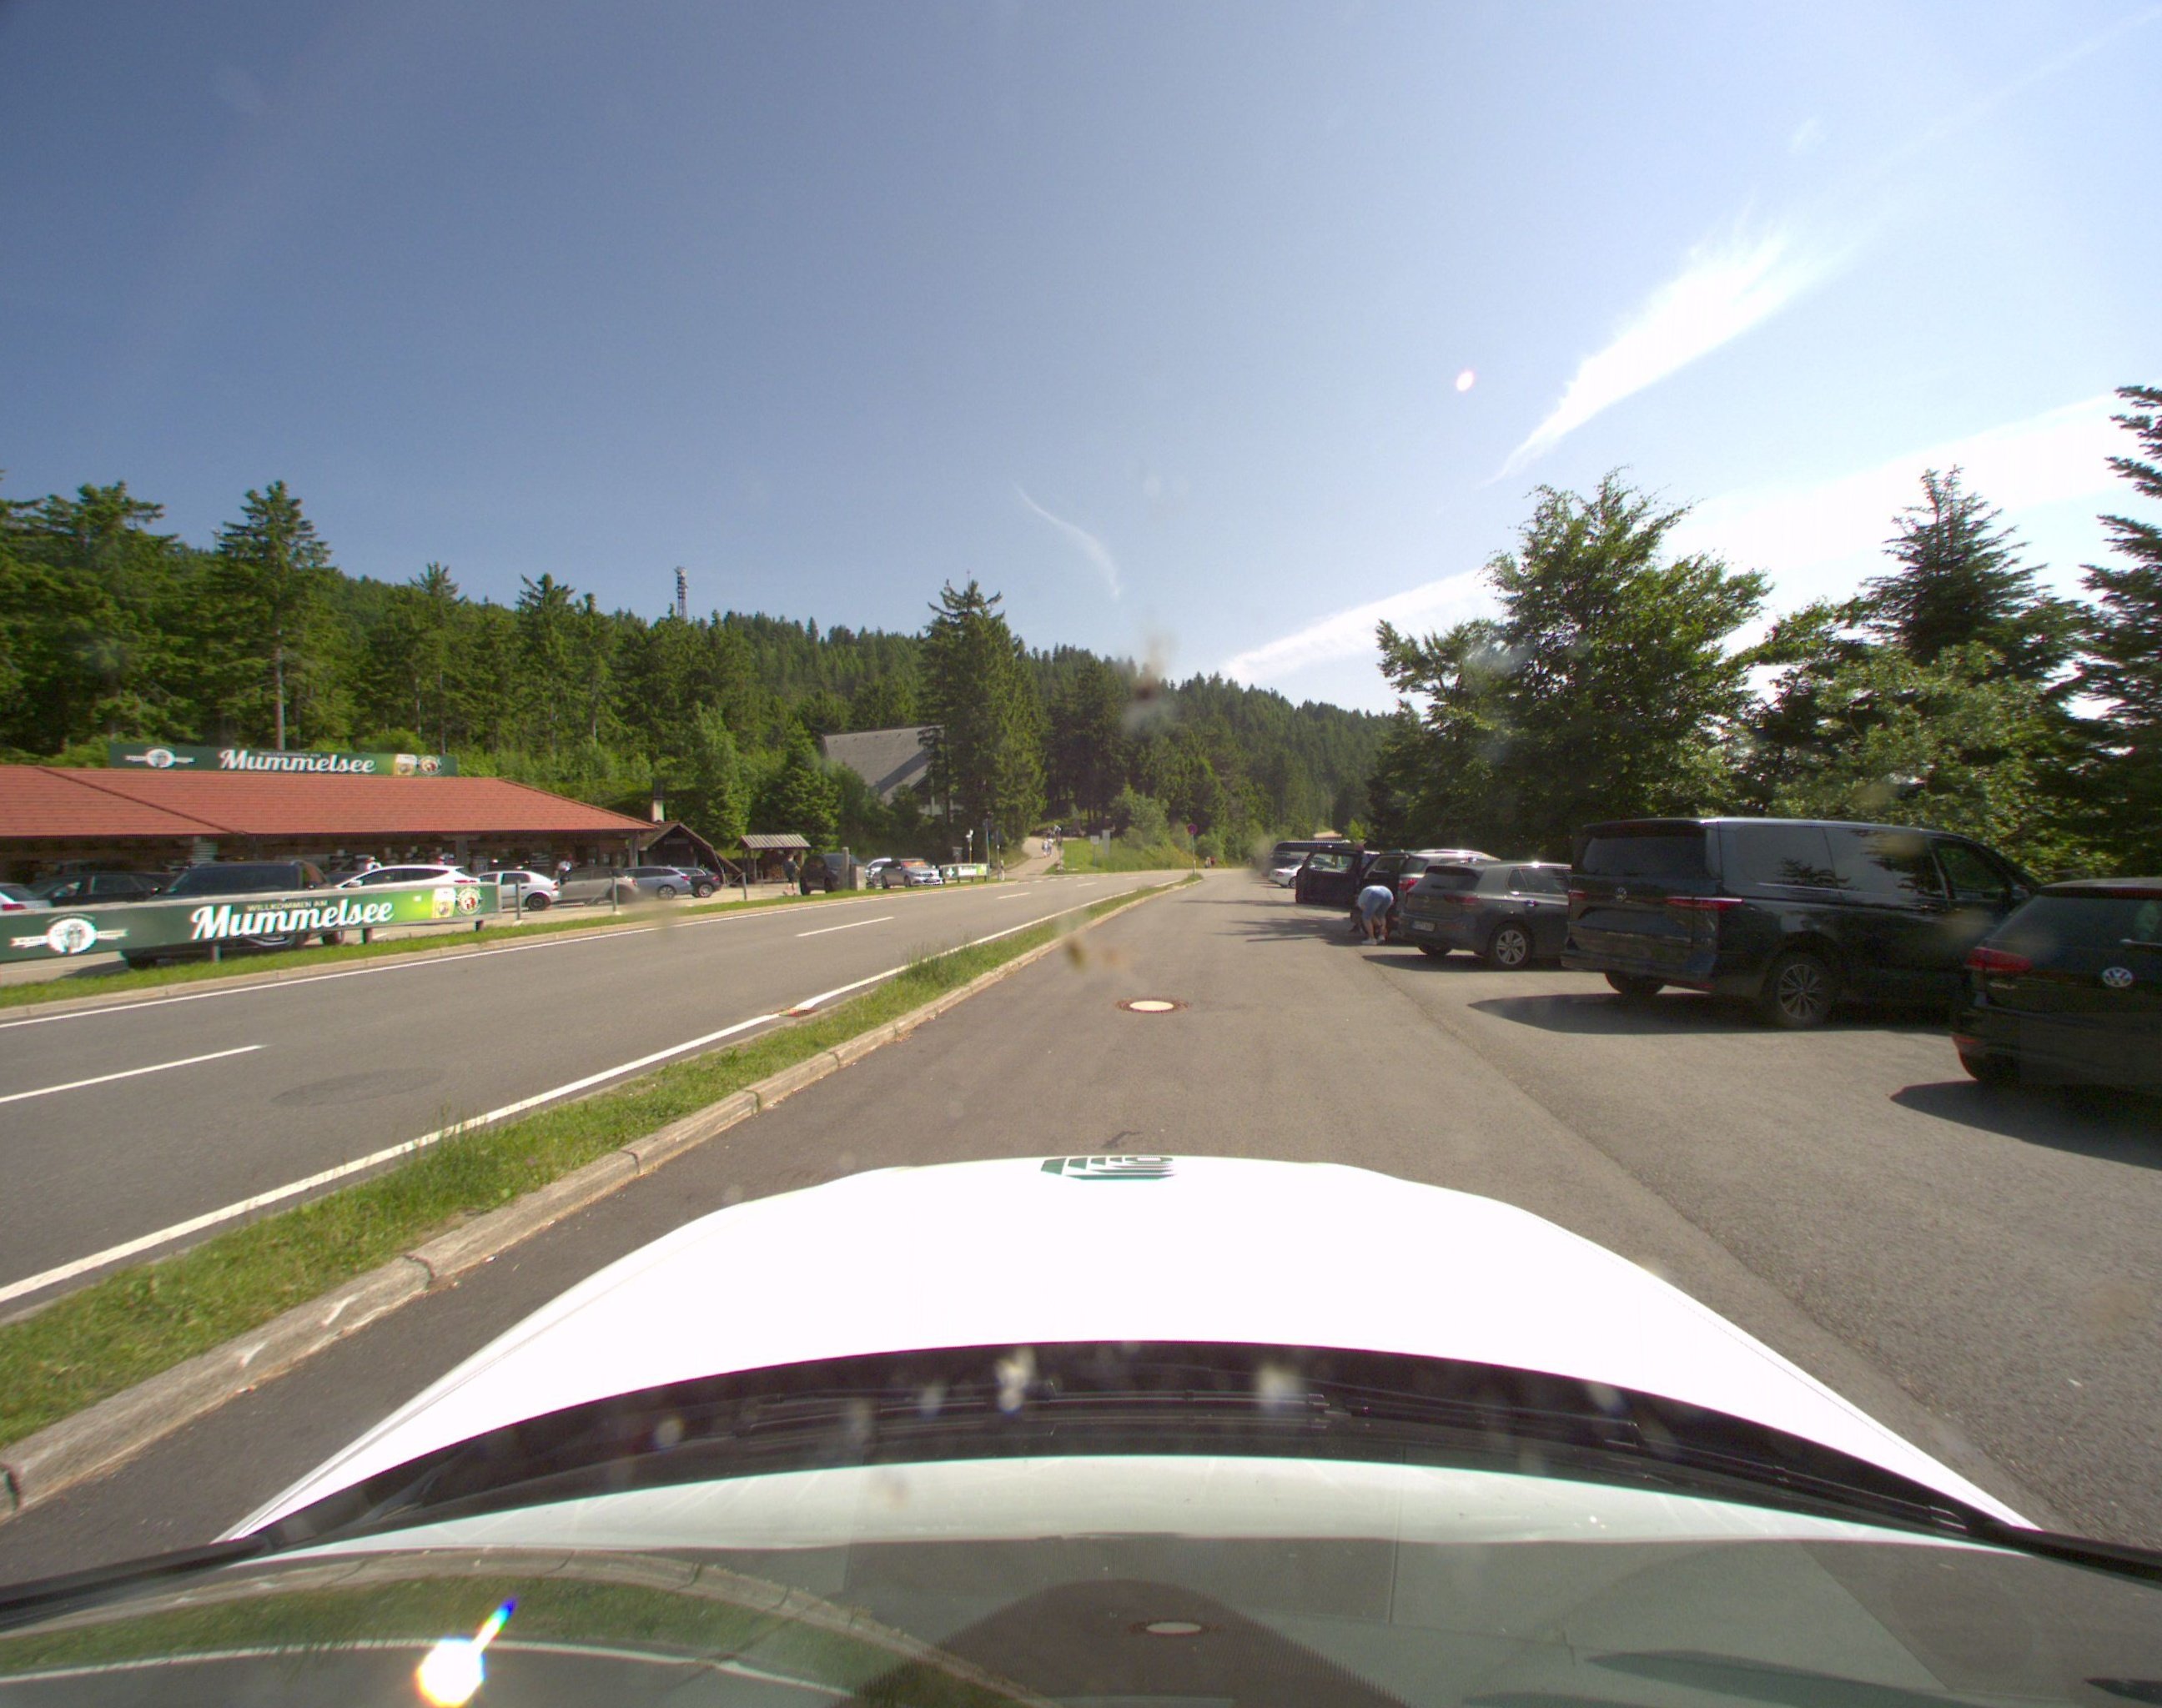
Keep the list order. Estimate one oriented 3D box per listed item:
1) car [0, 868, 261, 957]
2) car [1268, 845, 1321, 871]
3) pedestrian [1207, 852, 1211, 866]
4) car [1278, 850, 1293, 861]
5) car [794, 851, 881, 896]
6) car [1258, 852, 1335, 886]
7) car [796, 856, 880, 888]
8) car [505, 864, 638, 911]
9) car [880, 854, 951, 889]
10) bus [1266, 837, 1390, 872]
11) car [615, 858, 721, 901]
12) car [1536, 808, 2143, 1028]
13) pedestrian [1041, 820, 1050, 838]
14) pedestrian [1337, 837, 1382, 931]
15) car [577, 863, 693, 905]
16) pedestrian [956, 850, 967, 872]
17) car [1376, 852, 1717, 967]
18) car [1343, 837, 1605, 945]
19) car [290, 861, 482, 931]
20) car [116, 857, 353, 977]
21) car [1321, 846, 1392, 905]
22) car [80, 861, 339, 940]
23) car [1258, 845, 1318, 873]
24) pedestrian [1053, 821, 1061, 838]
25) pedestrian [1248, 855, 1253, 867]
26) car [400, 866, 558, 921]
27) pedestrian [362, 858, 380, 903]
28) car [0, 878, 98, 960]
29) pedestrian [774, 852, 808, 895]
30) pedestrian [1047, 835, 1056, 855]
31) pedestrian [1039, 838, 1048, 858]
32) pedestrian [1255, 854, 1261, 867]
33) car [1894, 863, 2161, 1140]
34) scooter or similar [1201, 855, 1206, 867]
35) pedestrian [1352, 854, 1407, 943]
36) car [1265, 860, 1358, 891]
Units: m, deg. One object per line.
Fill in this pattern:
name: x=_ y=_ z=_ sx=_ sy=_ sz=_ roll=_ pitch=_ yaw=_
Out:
car: x=-21.000 y=1.212 z=17.752 sx=4.016 sy=1.574 sz=1.979 roll=-3 pitch=1 yaw=-34
car: x=16.982 y=0.319 z=64.925 sx=3.960 sy=1.814 sz=1.947 roll=3 pitch=2 yaw=13
pedestrian: x=15.926 y=0.635 z=101.135 sx=0.392 sy=1.747 sz=0.407 roll=-2 pitch=1 yaw=14
car: x=31.802 y=0.233 z=126.731 sx=1.977 sy=1.662 sz=4.019 roll=-1 pitch=0 yaw=18
car: x=-9.548 y=0.750 z=31.762 sx=1.798 sy=1.634 sz=4.162 roll=-1 pitch=-1 yaw=-39
car: x=12.578 y=0.840 z=47.746 sx=3.970 sy=1.699 sz=2.002 roll=3 pitch=2 yaw=3
car: x=-13.156 y=0.948 z=44.243 sx=4.020 sy=1.494 sz=1.665 roll=-3 pitch=3 yaw=-39
car: x=-18.746 y=1.211 z=30.121 sx=4.015 sy=1.419 sz=1.667 roll=-3 pitch=0 yaw=-33
car: x=-7.753 y=0.789 z=37.855 sx=1.752 sy=1.441 sz=3.927 roll=-3 pitch=1 yaw=-35
bus: x=27.090 y=0.053 z=89.741 sx=12.740 sy=3.577 sz=3.000 roll=0 pitch=2 yaw=27
car: x=-18.426 y=1.108 z=36.357 sx=4.015 sy=1.617 sz=1.980 roll=-3 pitch=1 yaw=-32
car: x=7.472 y=0.585 z=8.272 sx=4.755 sy=1.880 sz=1.961 roll=1 pitch=0 yaw=-8
pedestrian: x=-4.101 y=-2.897 z=94.327 sx=0.794 sy=2.013 sz=0.941 roll=-2 pitch=1 yaw=3
pedestrian: x=5.377 y=0.575 z=15.742 sx=0.578 sy=1.760 sz=0.632 roll=2 pitch=0 yaw=-4
car: x=-18.229 y=1.211 z=33.326 sx=4.016 sy=1.419 sz=1.667 roll=-3 pitch=0 yaw=-33
pedestrian: x=-8.482 y=0.509 z=57.738 sx=0.573 sy=1.532 sz=0.554 roll=-2 pitch=1 yaw=11
car: x=6.546 y=0.754 z=11.644 sx=3.987 sy=1.442 sz=1.833 roll=1 pitch=1 yaw=-11
car: x=7.143 y=0.659 z=14.922 sx=3.996 sy=1.662 sz=1.989 roll=4 pitch=-1 yaw=-17
car: x=-20.134 y=1.176 z=23.852 sx=4.048 sy=1.672 sz=1.757 roll=-3 pitch=0 yaw=-35
car: x=-13.364 y=0.861 z=13.165 sx=1.747 sy=1.567 sz=4.018 roll=-2 pitch=1 yaw=-33
car: x=10.405 y=0.749 z=31.097 sx=1.893 sy=1.972 sz=4.835 roll=3 pitch=1 yaw=11
car: x=-21.487 y=1.082 z=20.375 sx=4.016 sy=1.574 sz=1.979 roll=-3 pitch=1 yaw=-34
car: x=14.636 y=0.337 z=57.878 sx=3.962 sy=1.719 sz=1.874 roll=3 pitch=2 yaw=11
pedestrian: x=-2.775 y=-2.861 z=95.002 sx=0.812 sy=2.013 sz=0.854 roll=-2 pitch=1 yaw=3
pedestrian: x=25.522 y=1.071 z=122.741 sx=0.618 sy=1.900 sz=0.657 roll=-2 pitch=-2 yaw=11
car: x=-19.789 y=1.253 z=26.957 sx=4.043 sy=1.468 sz=1.757 roll=-3 pitch=0 yaw=-35
pedestrian: x=-29.838 y=1.097 z=34.228 sx=0.530 sy=1.874 sz=0.541 roll=-1 pitch=0 yaw=-36
car: x=-21.320 y=1.292 z=14.767 sx=4.016 sy=1.420 sz=1.887 roll=-3 pitch=1 yaw=-34
pedestrian: x=-12.208 y=0.829 z=34.287 sx=0.890 sy=1.734 sz=0.963 roll=-2 pitch=1 yaw=11
pedestrian: x=-2.586 y=-0.788 z=72.185 sx=0.649 sy=1.799 sz=0.644 roll=-1 pitch=-1 yaw=5
pedestrian: x=-3.320 y=-0.541 z=71.418 sx=0.649 sy=1.667 sz=0.644 roll=-2 pitch=-2 yaw=5
pedestrian: x=26.419 y=0.966 z=121.720 sx=0.728 sy=2.014 sz=0.865 roll=-2 pitch=-2 yaw=11
car: x=7.498 y=0.823 z=5.057 sx=3.995 sy=1.415 sz=1.735 roll=1 pitch=1 yaw=-16
scooter or similar: x=15.005 y=0.895 z=99.937 sx=0.480 sy=1.380 sz=0.820 roll=-2 pitch=1 yaw=11
pedestrian: x=4.916 y=0.721 z=13.443 sx=0.767 sy=1.402 sz=0.672 roll=-2 pitch=1 yaw=17
car: x=12.235 y=1.128 z=43.279 sx=4.446 sy=1.298 sz=1.579 roll=3 pitch=1 yaw=-6
